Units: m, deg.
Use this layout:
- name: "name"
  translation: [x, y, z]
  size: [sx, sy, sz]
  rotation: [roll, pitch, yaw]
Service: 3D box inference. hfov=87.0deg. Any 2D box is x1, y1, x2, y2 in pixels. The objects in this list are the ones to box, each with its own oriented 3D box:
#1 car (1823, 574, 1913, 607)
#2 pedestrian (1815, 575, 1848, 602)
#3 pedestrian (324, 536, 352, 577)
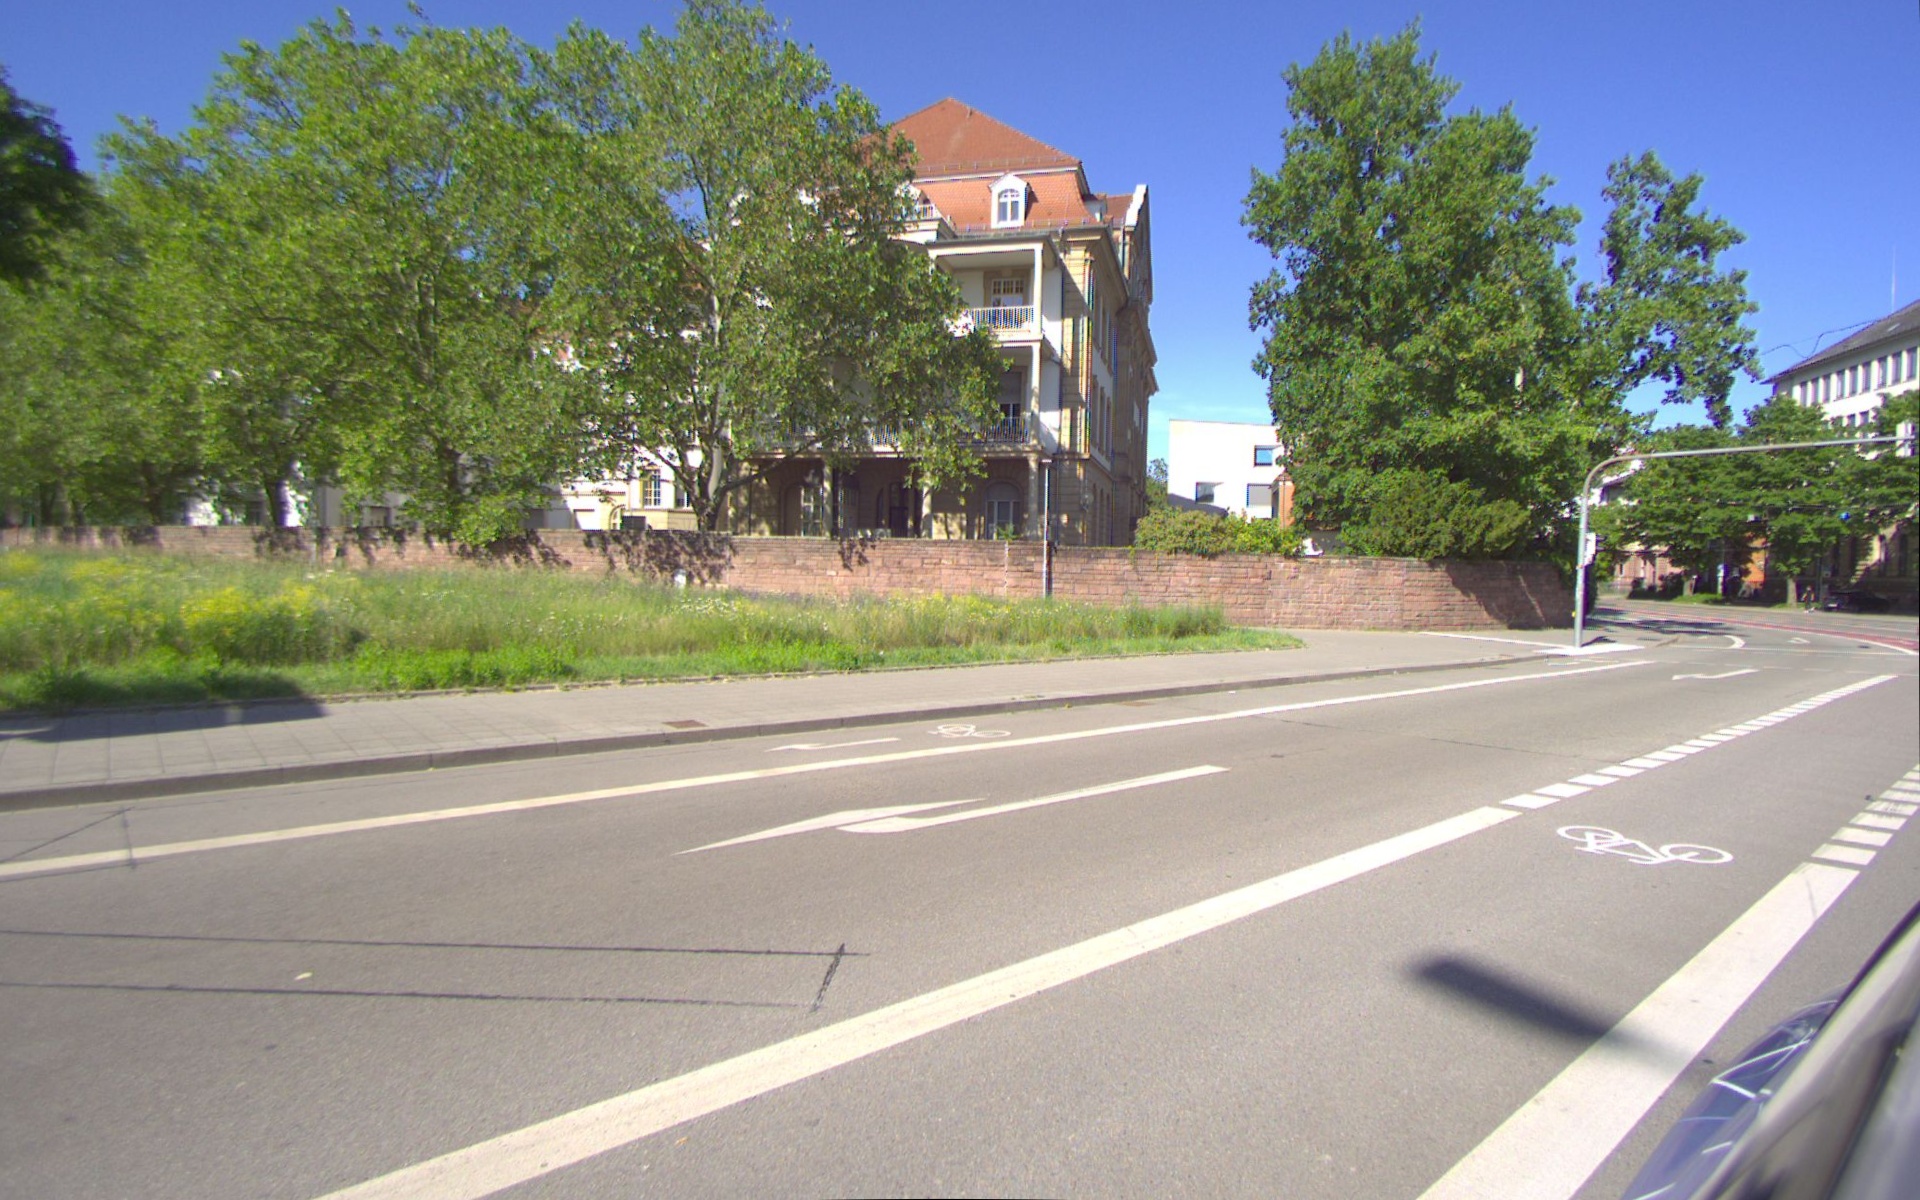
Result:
- name: "car"
  translation: [61.208, -0.648, 68.249]
  size: [4.615, 2.038, 2.004]
  rotation: [1, 2, -9]
- name: "pedestrian"
  translation: [60.062, -0.788, 69.748]
  size: [1.366, 1.844, 0.937]
  rotation: [1, 1, 4]
- name: "pedestrian"
  translation: [-22.333, -1.546, 36.337]
  size: [0.516, 1.461, 0.721]
  rotation: [0, 0, 20]
